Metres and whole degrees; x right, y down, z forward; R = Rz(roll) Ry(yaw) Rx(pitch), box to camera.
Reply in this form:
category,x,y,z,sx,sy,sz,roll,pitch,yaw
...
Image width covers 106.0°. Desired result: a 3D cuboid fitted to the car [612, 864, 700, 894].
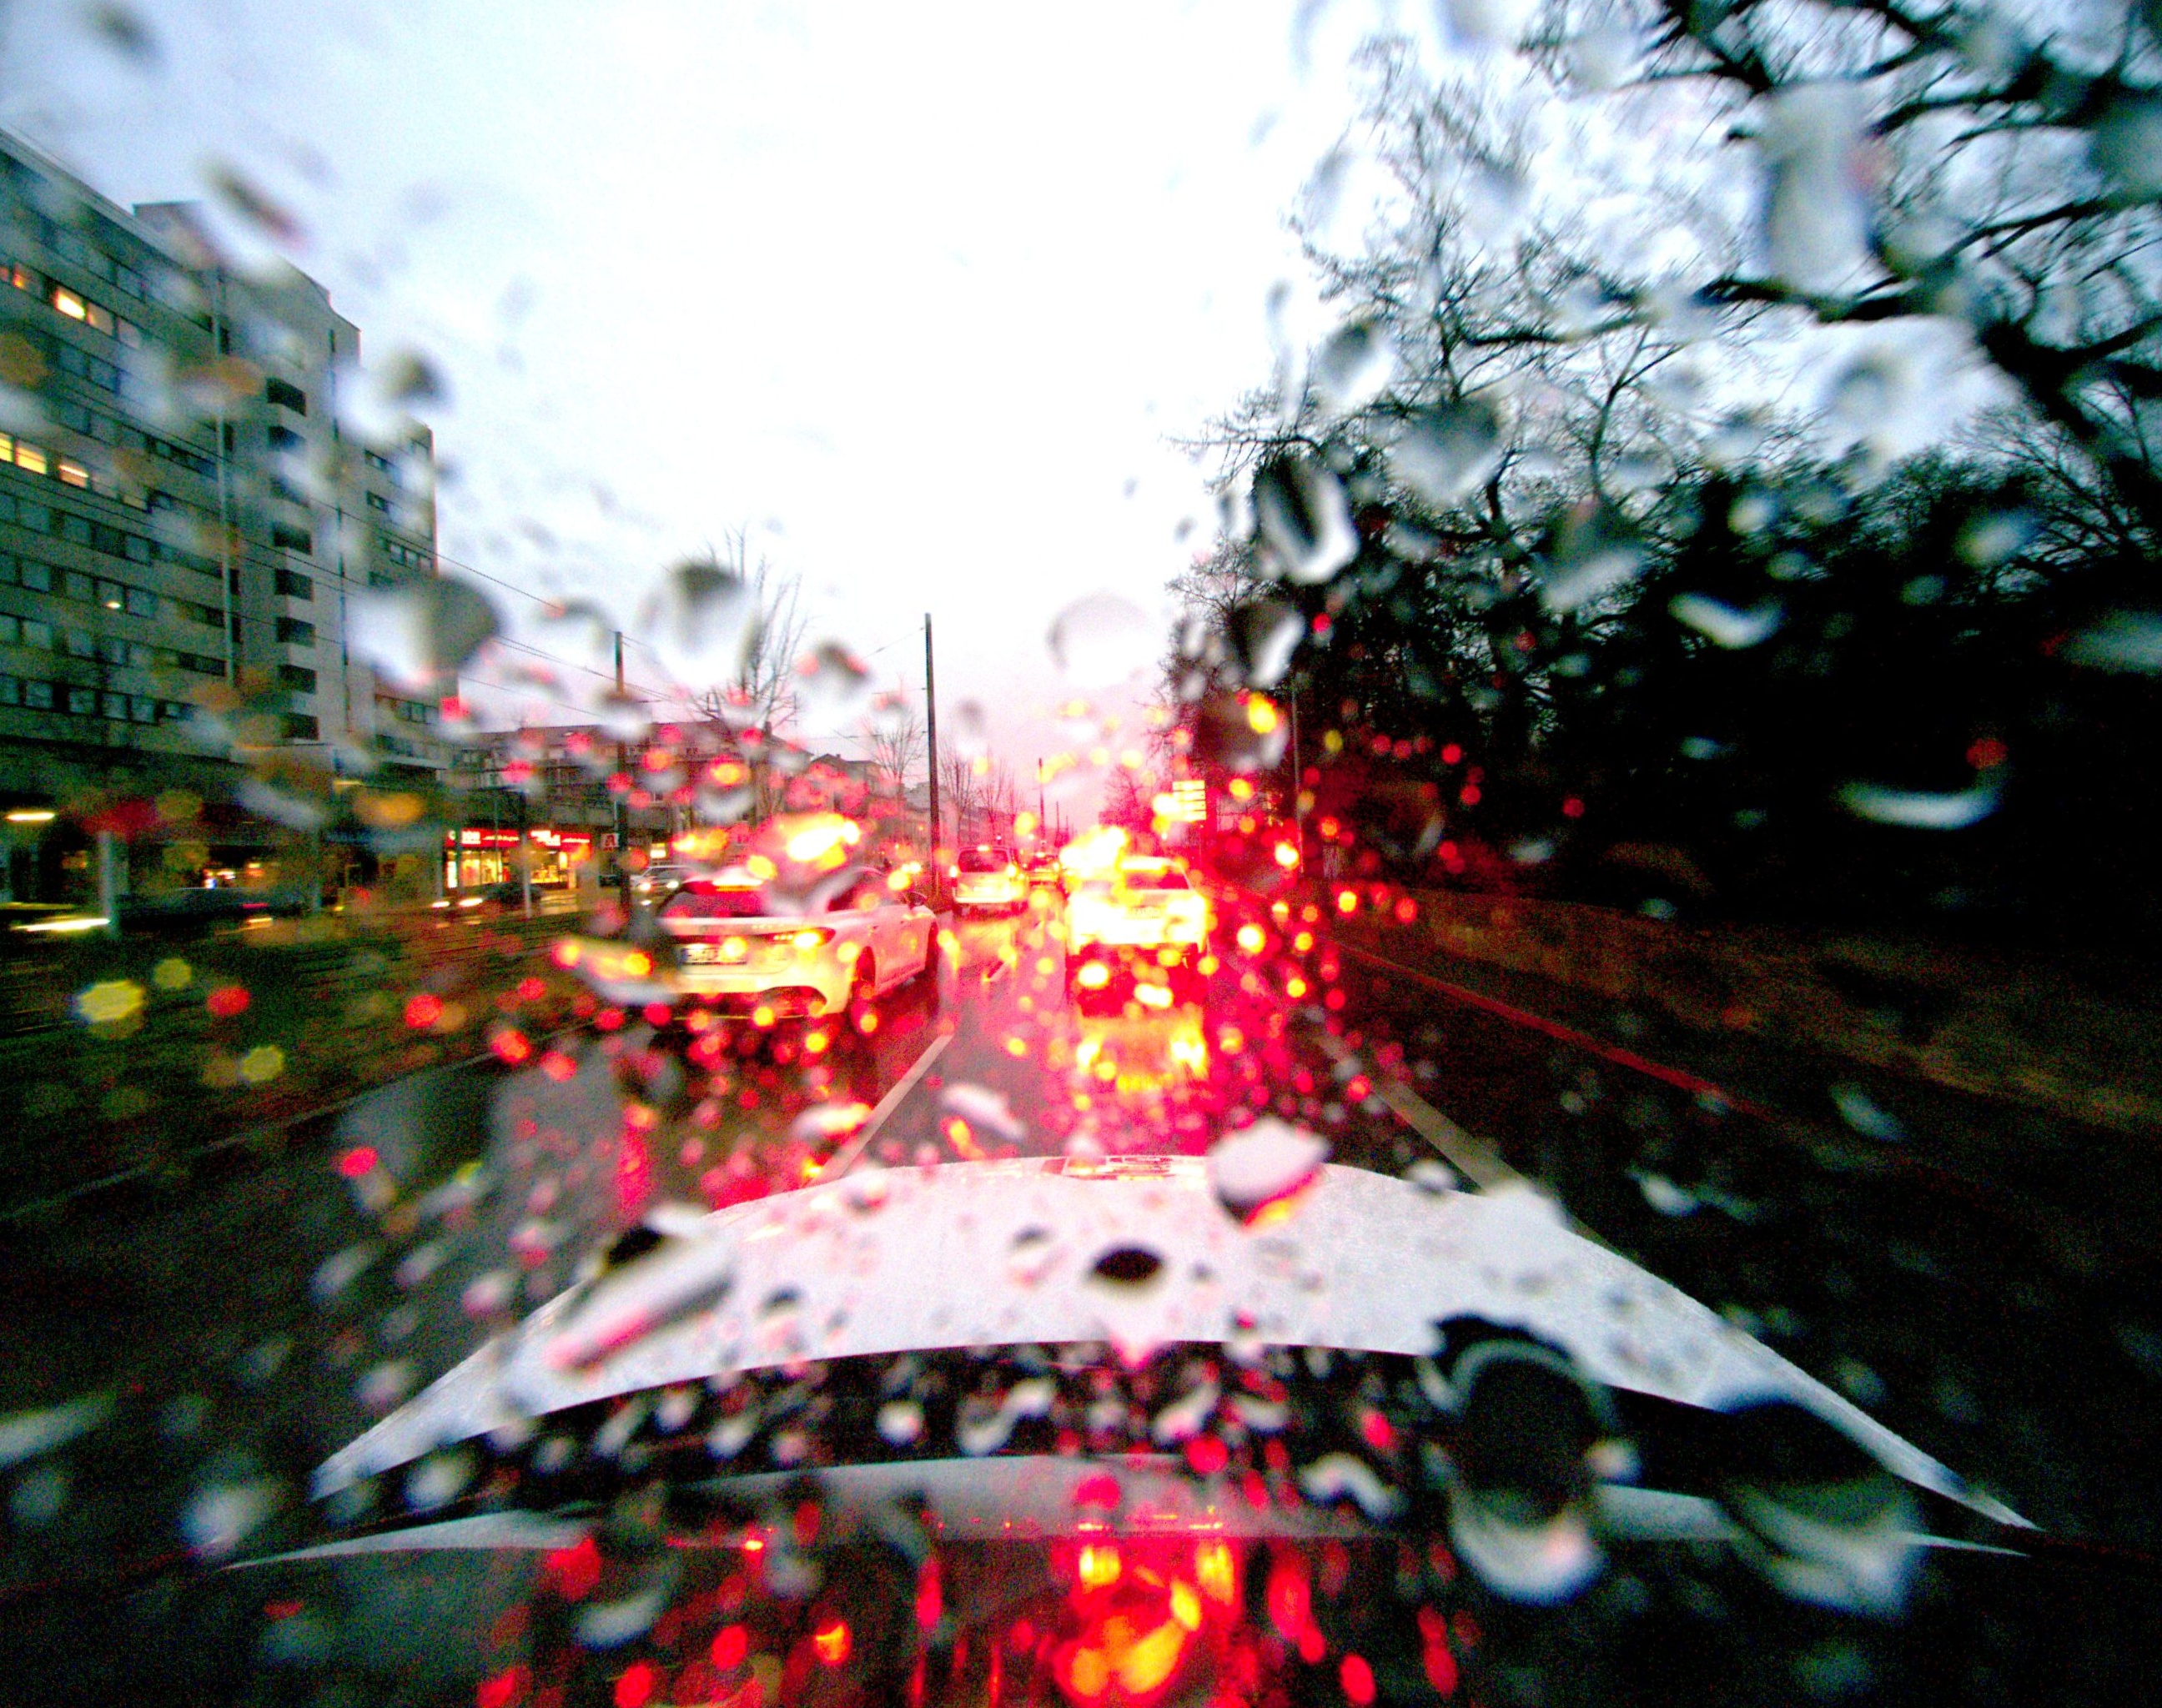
category,x,y,z,sx,sy,sz,roll,pitch,yaw
car,-30.567,1.770,58.710,5.193,1.912,1.975,-2,0,-44

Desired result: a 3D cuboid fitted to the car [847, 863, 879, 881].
category,x,y,z,sx,sy,sz,roll,pitch,yaw
car,-21.730,1.738,81.258,1.890,1.634,4.579,-2,0,0

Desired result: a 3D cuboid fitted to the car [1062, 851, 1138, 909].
category,x,y,z,sx,sy,sz,roll,pitch,yaw
car,0.545,0.656,23.044,1.929,1.457,4.165,-1,0,2

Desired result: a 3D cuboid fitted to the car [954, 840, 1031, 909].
category,x,y,z,sx,sy,sz,roll,pitch,yaw
car,-2.397,0.532,23.100,1.788,1.736,4.534,-1,0,-1

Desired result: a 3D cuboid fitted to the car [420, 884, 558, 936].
category,x,y,z,sx,sy,sz,roll,pitch,yaw
car,-24.116,2.233,33.442,1.888,1.719,4.919,-2,0,2

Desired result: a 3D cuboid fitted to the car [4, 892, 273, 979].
category,x,y,z,sx,sy,sz,roll,pitch,yaw
car,-25.225,2.089,22.110,1.889,1.813,4.531,-2,0,2

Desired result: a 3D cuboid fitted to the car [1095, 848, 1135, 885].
category,x,y,z,sx,sy,sz,roll,pitch,yaw
car,1.600,0.560,38.723,1.800,1.646,4.002,-1,0,2

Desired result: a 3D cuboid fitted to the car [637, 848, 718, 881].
category,x,y,z,sx,sy,sz,roll,pitch,yaw
car,-22.951,0.565,46.558,1.888,1.719,4.921,-2,0,3

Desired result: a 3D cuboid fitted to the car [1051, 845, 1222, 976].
category,x,y,z,sx,sy,sz,roll,pitch,yaw
car,0.722,0.668,11.716,1.992,1.508,4.165,-1,0,2

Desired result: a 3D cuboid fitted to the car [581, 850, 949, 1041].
category,x,y,z,sx,sy,sz,roll,pitch,yaw
car,-2.741,0.694,8.390,1.839,1.405,4.616,-1,0,2

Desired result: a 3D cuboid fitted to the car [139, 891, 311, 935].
category,x,y,z,sx,sy,sz,roll,pitch,yaw
car,-31.410,2.135,30.076,4.015,1.387,1.916,1,-1,-34

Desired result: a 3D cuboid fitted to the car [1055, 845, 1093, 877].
category,x,y,z,sx,sy,sz,roll,pitch,yaw
car,-0.356,0.392,46.563,1.986,1.755,4.001,-1,0,1

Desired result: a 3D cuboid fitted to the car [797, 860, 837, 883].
category,x,y,z,sx,sy,sz,roll,pitch,yaw
car,-24.495,1.584,75.786,1.988,1.912,5.161,-2,0,-1

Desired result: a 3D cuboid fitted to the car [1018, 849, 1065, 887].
category,x,y,z,sx,sy,sz,roll,pitch,yaw
car,-1.744,0.596,37.390,1.800,1.646,4.002,-1,0,2
